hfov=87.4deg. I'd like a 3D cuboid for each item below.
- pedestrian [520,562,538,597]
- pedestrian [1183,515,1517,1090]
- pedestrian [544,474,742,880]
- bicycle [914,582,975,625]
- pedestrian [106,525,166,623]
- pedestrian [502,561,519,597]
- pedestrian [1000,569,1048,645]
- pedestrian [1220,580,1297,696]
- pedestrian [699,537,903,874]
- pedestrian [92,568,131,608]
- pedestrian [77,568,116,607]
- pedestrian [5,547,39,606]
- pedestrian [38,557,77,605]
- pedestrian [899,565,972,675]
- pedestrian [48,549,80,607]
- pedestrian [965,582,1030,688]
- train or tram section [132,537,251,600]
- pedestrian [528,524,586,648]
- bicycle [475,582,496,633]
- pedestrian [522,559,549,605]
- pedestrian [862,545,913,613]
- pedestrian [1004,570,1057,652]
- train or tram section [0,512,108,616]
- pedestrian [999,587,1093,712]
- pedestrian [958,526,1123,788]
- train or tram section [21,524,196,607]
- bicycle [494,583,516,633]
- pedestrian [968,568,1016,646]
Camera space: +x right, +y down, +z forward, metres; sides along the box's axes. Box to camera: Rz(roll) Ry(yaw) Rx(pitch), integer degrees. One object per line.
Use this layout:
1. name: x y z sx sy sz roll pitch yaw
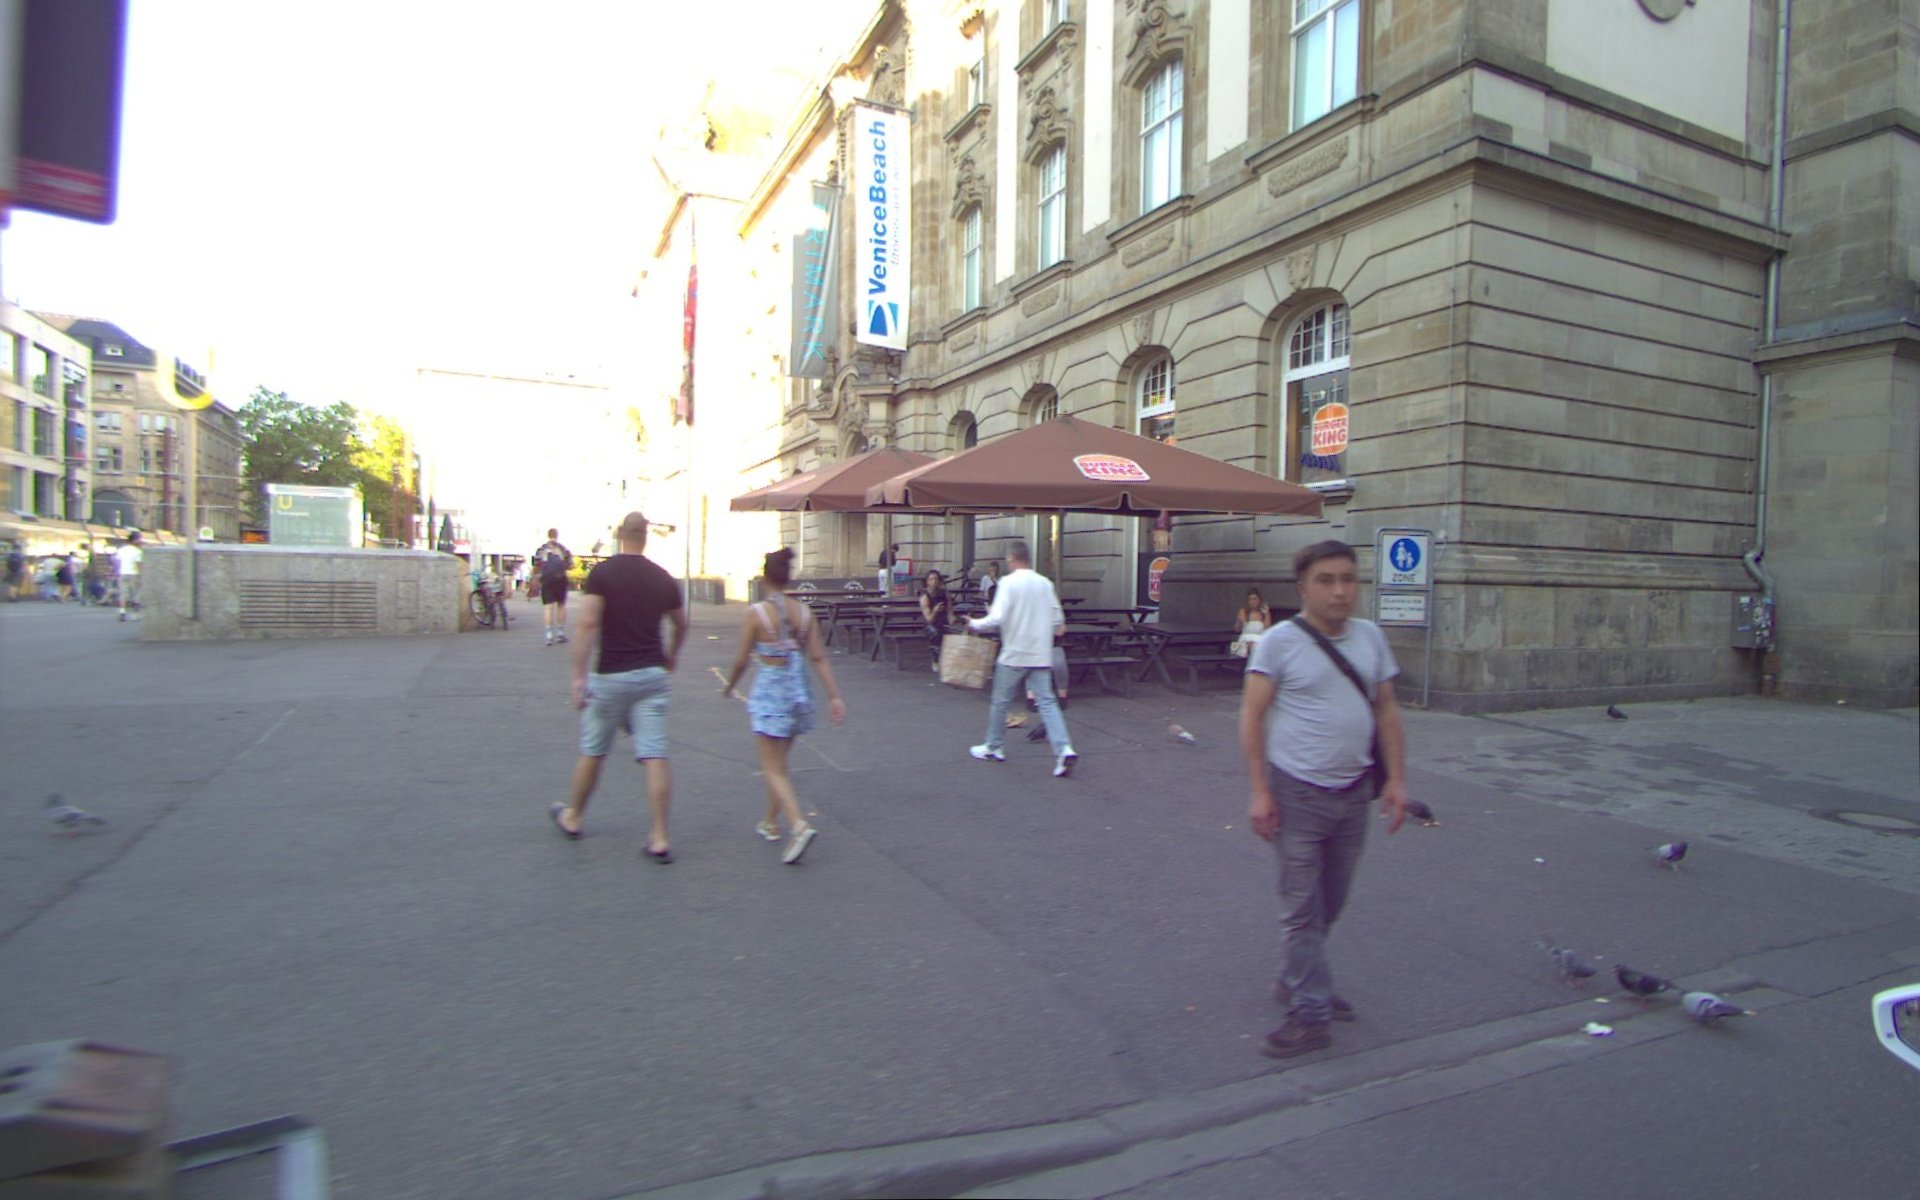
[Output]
1. pedestrian: -22.988 -1.108 53.578 0.800 1.848 0.800 0 2 -26
2. pedestrian: 1.243 0.601 3.381 0.718 1.668 0.872 2 0 -2
3. pedestrian: -1.653 0.361 5.170 0.795 1.864 0.868 2 0 -26
4. bicycle: -0.334 0.065 21.859 1.306 0.906 0.407 0 2 -30
5. pedestrian: -17.590 -0.540 21.468 0.762 2.040 0.911 1 0 -27
6. pedestrian: -23.872 -1.114 53.347 0.800 1.848 0.801 0 2 -24
7. pedestrian: 1.147 0.118 18.082 0.586 1.326 0.578 1 3 -28
8. pedestrian: 3.640 0.447 12.308 0.652 1.327 0.773 1 4 -1
9. pedestrian: -0.868 0.508 5.344 0.795 1.602 0.868 2 0 -26
10. pedestrian: -26.966 -0.375 31.932 0.785 1.238 0.763 1 1 -29
11. pedestrian: -27.843 -0.398 32.394 0.785 1.238 0.763 1 1 -29
12. pedestrian: -30.076 -0.747 32.212 0.730 1.848 0.810 0 2 -40
13. pedestrian: -30.596 -0.645 34.063 0.785 1.600 0.764 1 1 -27
14. pedestrian: -0.342 0.261 13.522 0.793 1.402 0.651 2 3 -15
15. pedestrian: -29.158 -0.724 32.697 0.730 1.848 0.810 0 2 -40
16. pedestrian: 0.458 0.420 12.416 0.606 1.243 0.699 2 3 -11
17. train or tram section: -46.185 -1.827 60.918 2.772 3.364 14.412 1 1 -26
18. pedestrian: -6.222 -0.221 15.545 0.799 1.848 0.802 0 2 -21
19. bicycle: -8.511 0.125 17.999 0.312 0.879 0.993 -1 2 -26
20. pedestrian: -16.087 -0.693 38.073 0.642 1.728 0.725 2 2 29
21. pedestrian: -1.744 -0.511 24.135 0.844 1.587 0.839 -1 3 -42
22. pedestrian: 1.184 0.187 16.905 0.602 1.326 0.604 1 3 -29
23. train or tram section: -33.796 -1.252 34.893 2.772 3.364 14.412 1 1 -26
24. pedestrian: 0.924 0.519 10.959 0.767 1.259 0.826 2 3 -12
25. pedestrian: 0.598 0.383 7.690 0.857 1.864 0.866 0 4 -31
26. train or tram section: -39.985 -1.539 47.903 2.772 3.364 14.412 1 1 -26
27. bicycle: -8.222 0.133 18.143 0.312 0.879 0.993 -1 2 -26
28. pedestrian: 0.565 0.125 17.758 0.587 1.326 0.577 1 3 -29
